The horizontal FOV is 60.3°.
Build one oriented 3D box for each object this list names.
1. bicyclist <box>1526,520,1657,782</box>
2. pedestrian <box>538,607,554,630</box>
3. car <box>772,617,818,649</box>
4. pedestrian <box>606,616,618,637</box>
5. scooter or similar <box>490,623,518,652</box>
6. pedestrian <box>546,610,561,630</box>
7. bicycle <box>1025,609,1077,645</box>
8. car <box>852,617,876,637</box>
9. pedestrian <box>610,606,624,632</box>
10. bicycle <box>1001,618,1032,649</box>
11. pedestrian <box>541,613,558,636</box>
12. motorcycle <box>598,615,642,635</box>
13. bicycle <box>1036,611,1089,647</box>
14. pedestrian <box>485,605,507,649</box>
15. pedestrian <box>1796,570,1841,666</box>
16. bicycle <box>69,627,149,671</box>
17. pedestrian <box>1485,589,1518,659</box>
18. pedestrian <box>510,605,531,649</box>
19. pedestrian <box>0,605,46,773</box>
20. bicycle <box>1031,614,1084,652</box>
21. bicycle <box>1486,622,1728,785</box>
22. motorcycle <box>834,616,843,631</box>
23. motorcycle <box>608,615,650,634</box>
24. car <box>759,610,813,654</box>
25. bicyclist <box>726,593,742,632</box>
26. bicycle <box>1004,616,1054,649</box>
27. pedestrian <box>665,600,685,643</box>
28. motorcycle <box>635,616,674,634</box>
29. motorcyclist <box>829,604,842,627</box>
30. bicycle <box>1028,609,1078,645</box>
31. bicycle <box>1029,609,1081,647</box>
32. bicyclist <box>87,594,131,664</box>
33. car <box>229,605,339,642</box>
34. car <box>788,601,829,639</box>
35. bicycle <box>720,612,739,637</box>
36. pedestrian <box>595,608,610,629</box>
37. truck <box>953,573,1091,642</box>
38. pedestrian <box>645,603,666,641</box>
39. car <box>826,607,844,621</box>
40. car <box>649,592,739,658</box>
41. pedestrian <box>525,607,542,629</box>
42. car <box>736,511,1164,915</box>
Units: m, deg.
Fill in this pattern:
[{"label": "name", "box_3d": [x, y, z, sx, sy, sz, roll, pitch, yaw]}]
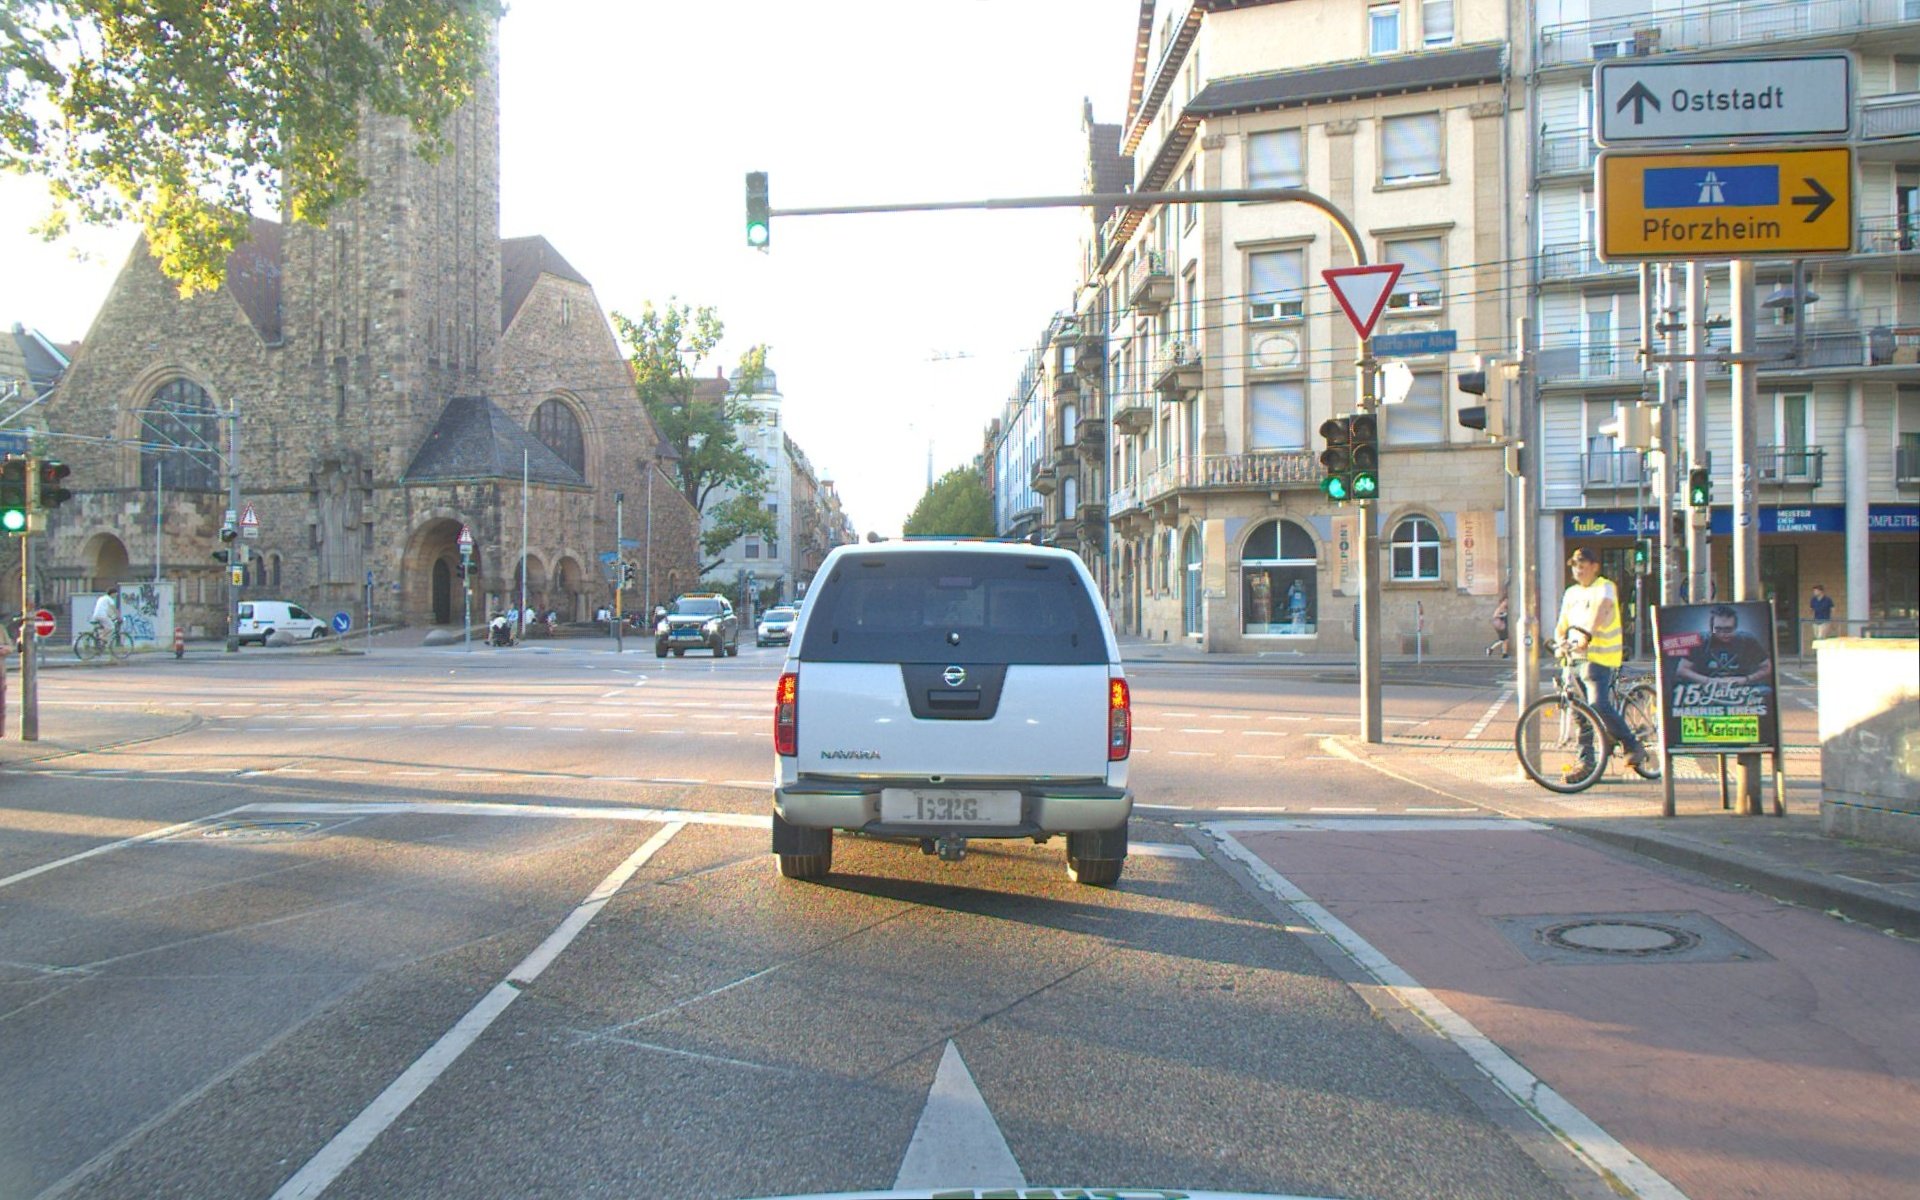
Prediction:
[{"label": "bicyclist", "box_3d": [4.642, 0.371, 12.170, 0.690, 1.856, 0.621, 1, -1, -33]}, {"label": "pedestrian", "box_3d": [-17.800, 0.778, 71.124, 0.511, 0.977, 0.479, 0, -1, 19]}, {"label": "car", "box_3d": [-8.284, 1.633, 83.326, 1.953, 1.503, 4.138, -1, 0, -2]}, {"label": "pedestrian", "box_3d": [-16.088, 1.226, 76.533, 0.513, 0.977, 0.477, 1, -1, -17]}, {"label": "scooter or similar", "box_3d": [-17.907, 1.480, 64.962, 0.620, 1.123, 1.079, -1, -1, 10]}, {"label": "pedestrian", "box_3d": [-20.253, 1.014, 82.441, 0.540, 0.977, 0.710, 1, -1, 2]}, {"label": "bicycle", "box_3d": [3.433, 1.020, 62.422, 1.818, 1.259, 0.530, -3, -1, -3]}, {"label": "car", "box_3d": [-7.610, 2.149, 131.050, 1.821, 1.556, 3.998, 1, -1, -2]}, {"label": "pedestrian", "box_3d": [-16.299, 0.903, 78.544, 0.468, 1.267, 0.523, 0, -1, 17]}, {"label": "bicycle", "box_3d": [2.048, 1.221, 60.236, 1.055, 1.042, 0.317, -3, -1, -3]}, {"label": "pedestrian", "box_3d": [-17.940, 1.073, 72.289, 0.469, 0.977, 0.522, 0, -1, 29]}, {"label": "motorcycle", "box_3d": [-18.095, 1.325, 88.113, 2.201, 1.005, 0.707, 1, -1, -7]}, {"label": "bicycle", "box_3d": [3.649, 1.045, 58.911, 1.781, 1.170, 0.636, -3, -1, -3]}, {"label": "pedestrian", "box_3d": [-18.453, 1.072, 65.745, 0.620, 1.728, 0.603, 0, -1, 9]}, {"label": "pedestrian", "box_3d": [20.488, 0.423, 39.490, 0.850, 2.247, 0.821, 0, -1, 19]}, {"label": "bicycle", "box_3d": [-22.809, 1.288, 44.371, 0.642, 1.096, 2.247, 1, 0, 11]}, {"label": "pedestrian", "box_3d": [14.236, 0.623, 43.457, 0.771, 1.810, 0.543, 0, -1, 25]}, {"label": "pedestrian", "box_3d": [-17.483, 1.067, 65.806, 0.620, 1.728, 0.603, 0, -1, 10]}, {"label": "pedestrian", "box_3d": [-9.802, 0.874, 16.640, 0.786, 1.656, 0.773, 1, -1, -6]}, {"label": "bicycle", "box_3d": [3.526, 1.200, 59.847, 1.781, 1.259, 0.488, -3, -1, -3]}, {"label": "bicycle", "box_3d": [4.835, 0.738, 12.302, 2.046, 1.129, 0.621, 1, -1, -33]}, {"label": "motorcycle", "box_3d": [-8.682, 1.713, 118.230, 0.587, 1.062, 1.945, 1, -1, -2]}, {"label": "motorcycle", "box_3d": [-18.025, 1.355, 90.140, 2.201, 1.005, 0.707, 1, -1, -7]}, {"label": "car", "box_3d": [-7.213, 1.292, 69.109, 1.954, 1.585, 4.766, -2, 1, -3]}, {"label": "bicyclist", "box_3d": [-9.768, 0.525, 71.491, 0.587, 1.673, 0.963, 1, -1, -2]}, {"label": "bicycle", "box_3d": [2.474, 1.168, 59.359, 1.692, 1.102, 0.317, -3, -1, -3]}, {"label": "pedestrian", "box_3d": [-12.934, 0.984, 75.083, 0.796, 1.934, 0.666, 1, -1, -3]}, {"label": "motorcycle", "box_3d": [-17.048, 1.398, 92.440, 2.119, 1.005, 0.594, 0, -1, 19]}, {"label": "motorcyclist", "box_3d": [-8.891, 1.107, 118.196, 0.857, 1.673, 0.963, 1, 0, -2]}, {"label": "bicycle", "box_3d": [3.481, 1.011, 61.891, 1.781, 1.259, 0.410, -3, -1, -3]}, {"label": "bicycle", "box_3d": [3.469, 1.026, 60.560, 1.781, 1.259, 0.477, -3, -1, -3]}, {"label": "bicyclist", "box_3d": [-22.812, 0.768, 44.348, 0.642, 1.859, 0.860, 0, 1, 12]}, {"label": "car", "box_3d": [-28.907, 1.016, 70.850, 1.679, 1.543, 4.454, 0, -1, 23]}, {"label": "car", "box_3d": [-8.347, 1.093, 91.630, 1.953, 2.049, 4.948, -1, 0, -2]}, {"label": "bicycle", "box_3d": [-9.955, 1.065, 71.404, 0.587, 1.062, 1.945, 1, -1, -2]}, {"label": "pedestrian", "box_3d": [-16.625, 0.872, 76.847, 0.510, 0.977, 0.479, 0, -1, 17]}, {"label": "truck", "box_3d": [2.507, 0.329, 65.465, 5.630, 2.610, 2.250, 1, -1, -44]}, {"label": "pedestrian", "box_3d": [-13.774, 0.985, 74.930, 0.796, 1.699, 0.859, 1, -1, -3]}, {"label": "car", "box_3d": [-13.649, 1.558, 180.948, 1.821, 1.556, 3.998, 1, -1, -1]}, {"label": "car", "box_3d": [-7.578, 0.671, 47.562, 1.953, 1.815, 4.796, 0, 0, -2]}, {"label": "pedestrian", "box_3d": [-18.413, 0.775, 71.392, 0.511, 0.977, 0.479, 0, -1, 19]}, {"label": "car", "box_3d": [-0.064, 0.551, 9.645, 1.953, 1.841, 3.999, 1, -1, -1]}]
